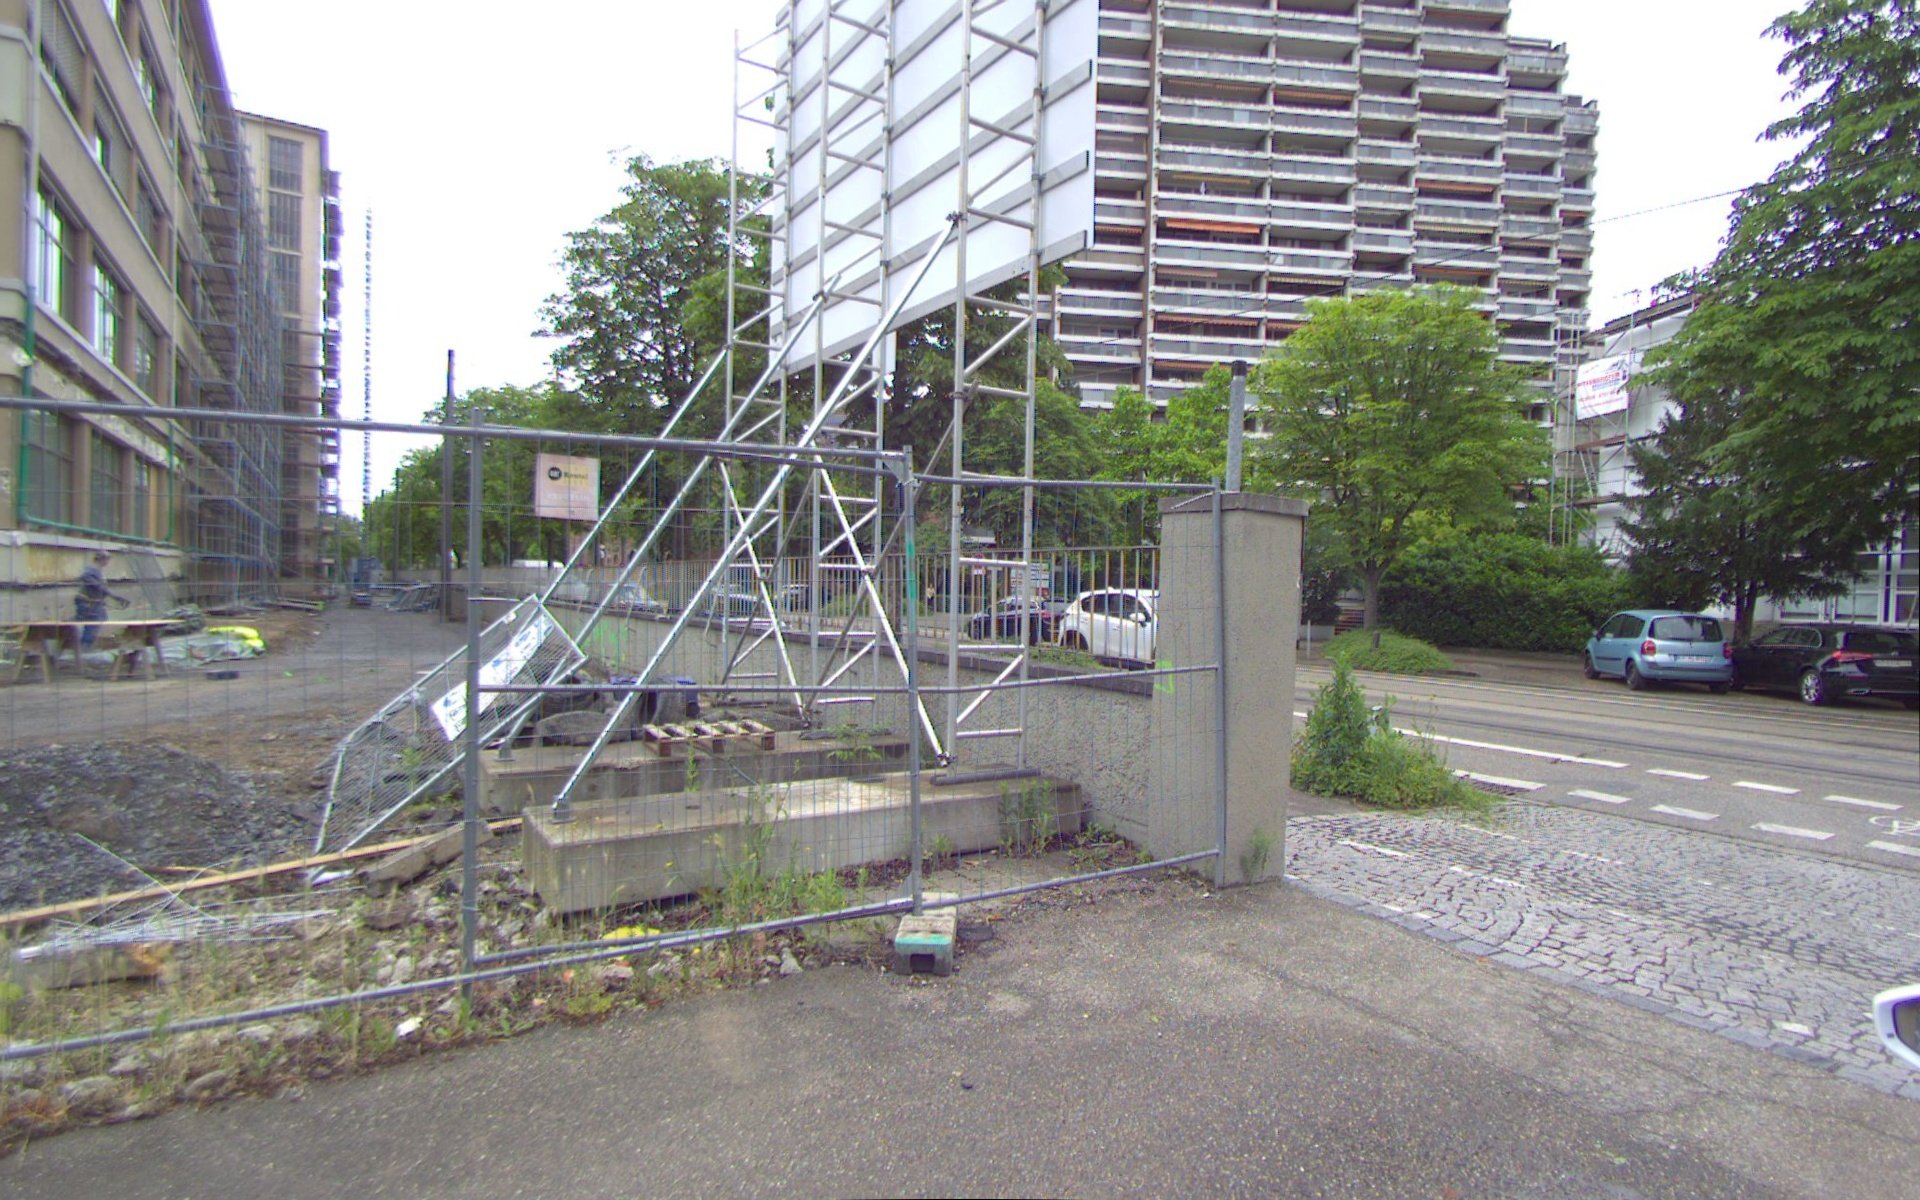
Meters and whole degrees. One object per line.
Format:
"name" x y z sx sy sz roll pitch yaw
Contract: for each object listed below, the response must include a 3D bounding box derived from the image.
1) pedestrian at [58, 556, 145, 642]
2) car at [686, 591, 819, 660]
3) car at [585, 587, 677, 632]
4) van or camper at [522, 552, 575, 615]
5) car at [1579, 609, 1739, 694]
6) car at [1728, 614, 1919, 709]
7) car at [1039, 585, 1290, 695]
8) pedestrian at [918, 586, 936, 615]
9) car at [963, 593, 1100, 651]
"pedestrian" -14.992 -0.016 17.544 0.916 1.457 0.979 2 0 38
"car" -5.005 0.561 23.854 1.813 1.437 3.965 2 0 -32
"car" -10.765 0.288 32.724 1.978 1.328 3.965 1 1 -32
"van or camper" -19.300 -0.762 47.027 1.974 2.789 3.973 2 0 -26
"car" 14.433 0.991 20.955 1.586 1.557 3.339 2 0 14
"car" 15.875 1.058 18.434 1.586 1.531 3.339 2 0 14
"car" 3.620 0.616 18.664 1.978 1.726 4.560 0 1 -32
"pedestrian" -1.776 0.018 54.202 0.838 1.548 0.515 1 1 -44
"car" 2.030 0.617 29.689 1.805 1.510 4.215 1 0 -34
